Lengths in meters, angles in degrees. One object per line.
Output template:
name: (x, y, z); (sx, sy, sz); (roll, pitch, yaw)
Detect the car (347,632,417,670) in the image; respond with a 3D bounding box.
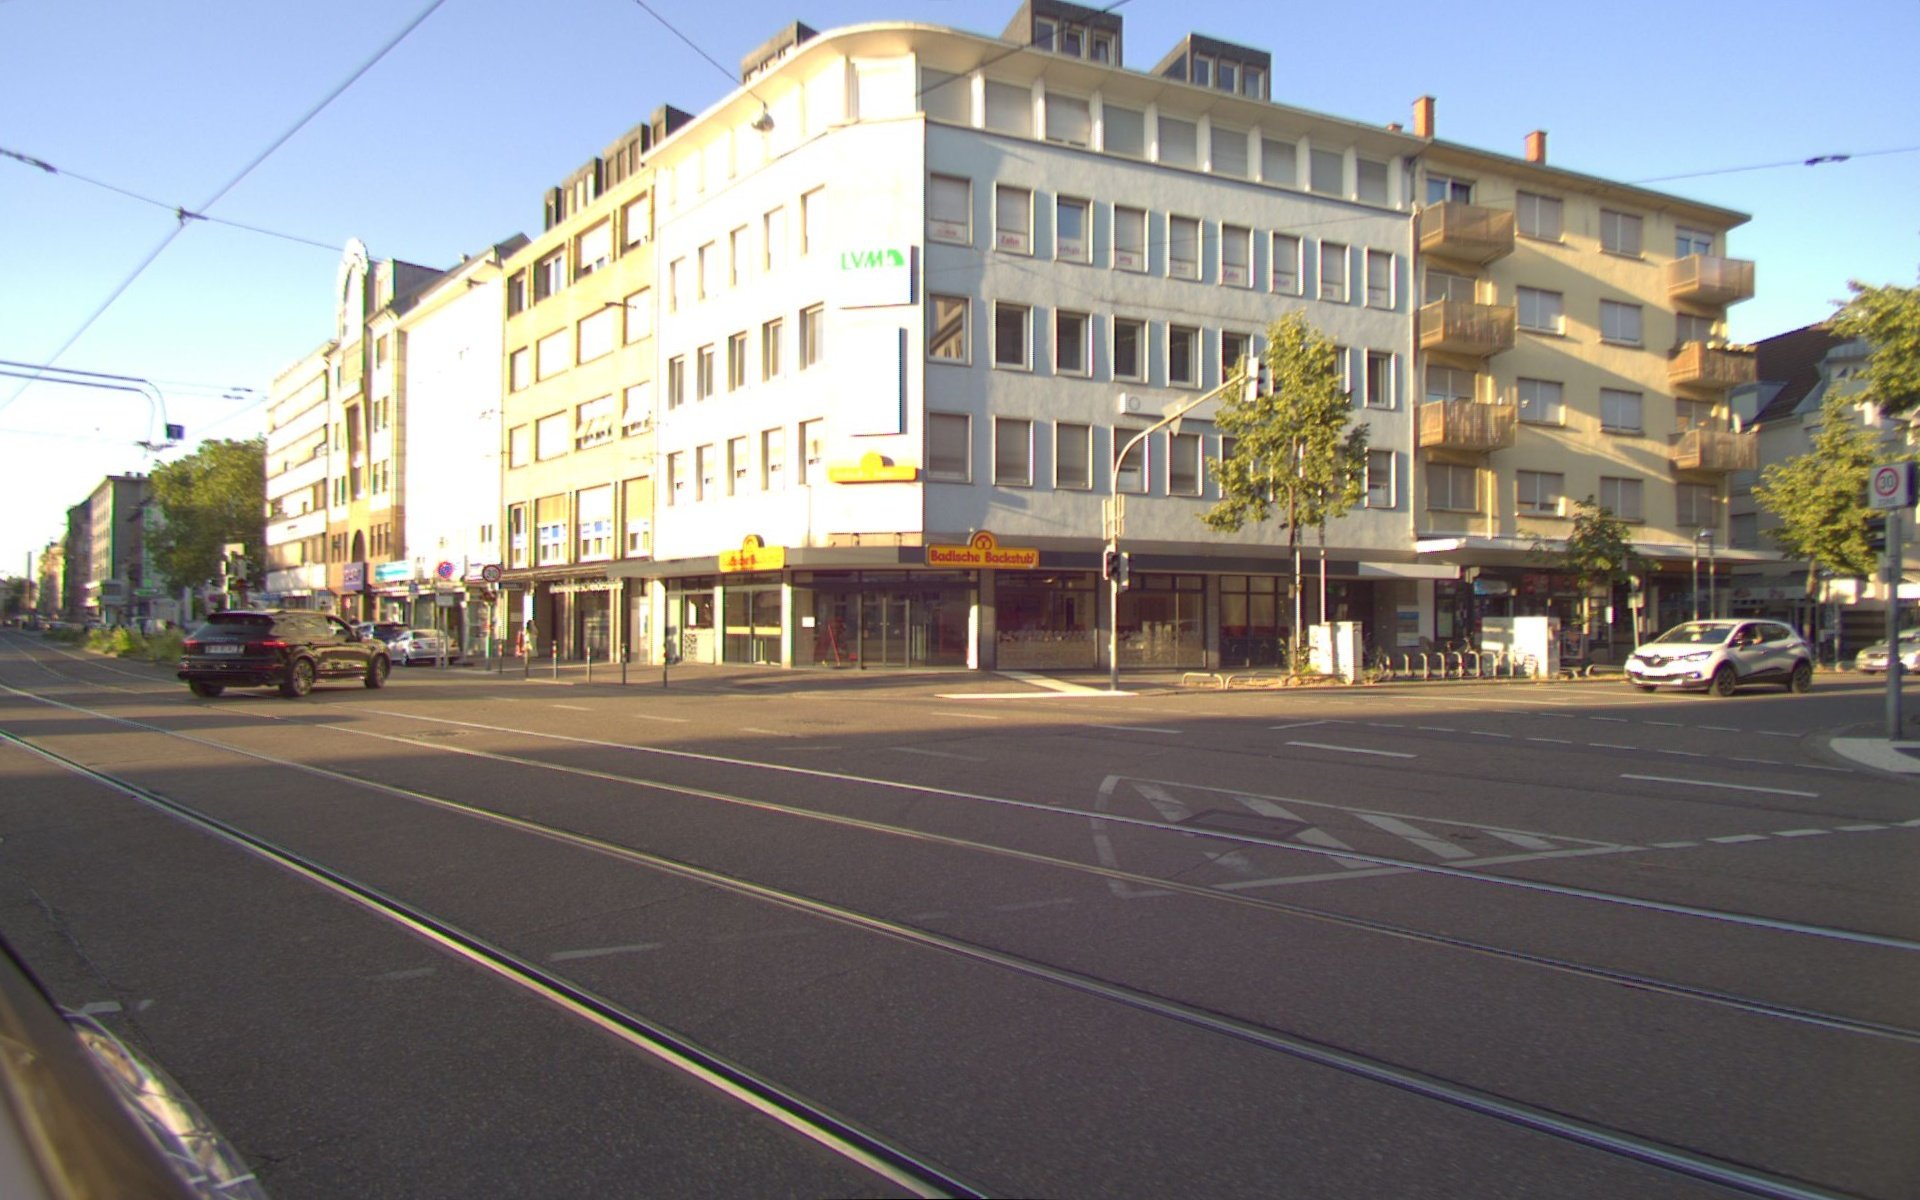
car: (-22.986, 2.003, 40.211); (1.613, 1.364, 3.391); (-2, 0, -44)

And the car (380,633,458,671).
car: (-19.808, 1.880, 36.987); (1.613, 1.263, 3.391); (-2, 0, -44)

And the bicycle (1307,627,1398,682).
bicycle: (9.991, 1.372, 25.883); (0.628, 1.262, 2.382); (1, 0, -26)

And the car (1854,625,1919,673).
car: (28.665, 1.422, 29.950); (3.745, 1.360, 1.862); (1, -3, -24)

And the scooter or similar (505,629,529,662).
scooter or similar: (-17.333, 1.780, 39.606); (0.389, 1.268, 1.468); (-1, -1, -43)

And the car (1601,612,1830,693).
car: (15.886, 1.095, 21.322); (3.943, 1.568, 2.121); (1, -3, -23)

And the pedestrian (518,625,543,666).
pedestrian: (-16.077, 1.697, 37.856); (0.622, 1.483, 0.538); (-2, 1, 29)

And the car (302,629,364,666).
car: (-27.672, 2.092, 44.617); (1.613, 1.475, 3.391); (-2, 0, -44)

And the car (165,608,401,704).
car: (-13.579, 1.085, 20.696); (1.781, 1.711, 4.568); (-1, -2, 0)
